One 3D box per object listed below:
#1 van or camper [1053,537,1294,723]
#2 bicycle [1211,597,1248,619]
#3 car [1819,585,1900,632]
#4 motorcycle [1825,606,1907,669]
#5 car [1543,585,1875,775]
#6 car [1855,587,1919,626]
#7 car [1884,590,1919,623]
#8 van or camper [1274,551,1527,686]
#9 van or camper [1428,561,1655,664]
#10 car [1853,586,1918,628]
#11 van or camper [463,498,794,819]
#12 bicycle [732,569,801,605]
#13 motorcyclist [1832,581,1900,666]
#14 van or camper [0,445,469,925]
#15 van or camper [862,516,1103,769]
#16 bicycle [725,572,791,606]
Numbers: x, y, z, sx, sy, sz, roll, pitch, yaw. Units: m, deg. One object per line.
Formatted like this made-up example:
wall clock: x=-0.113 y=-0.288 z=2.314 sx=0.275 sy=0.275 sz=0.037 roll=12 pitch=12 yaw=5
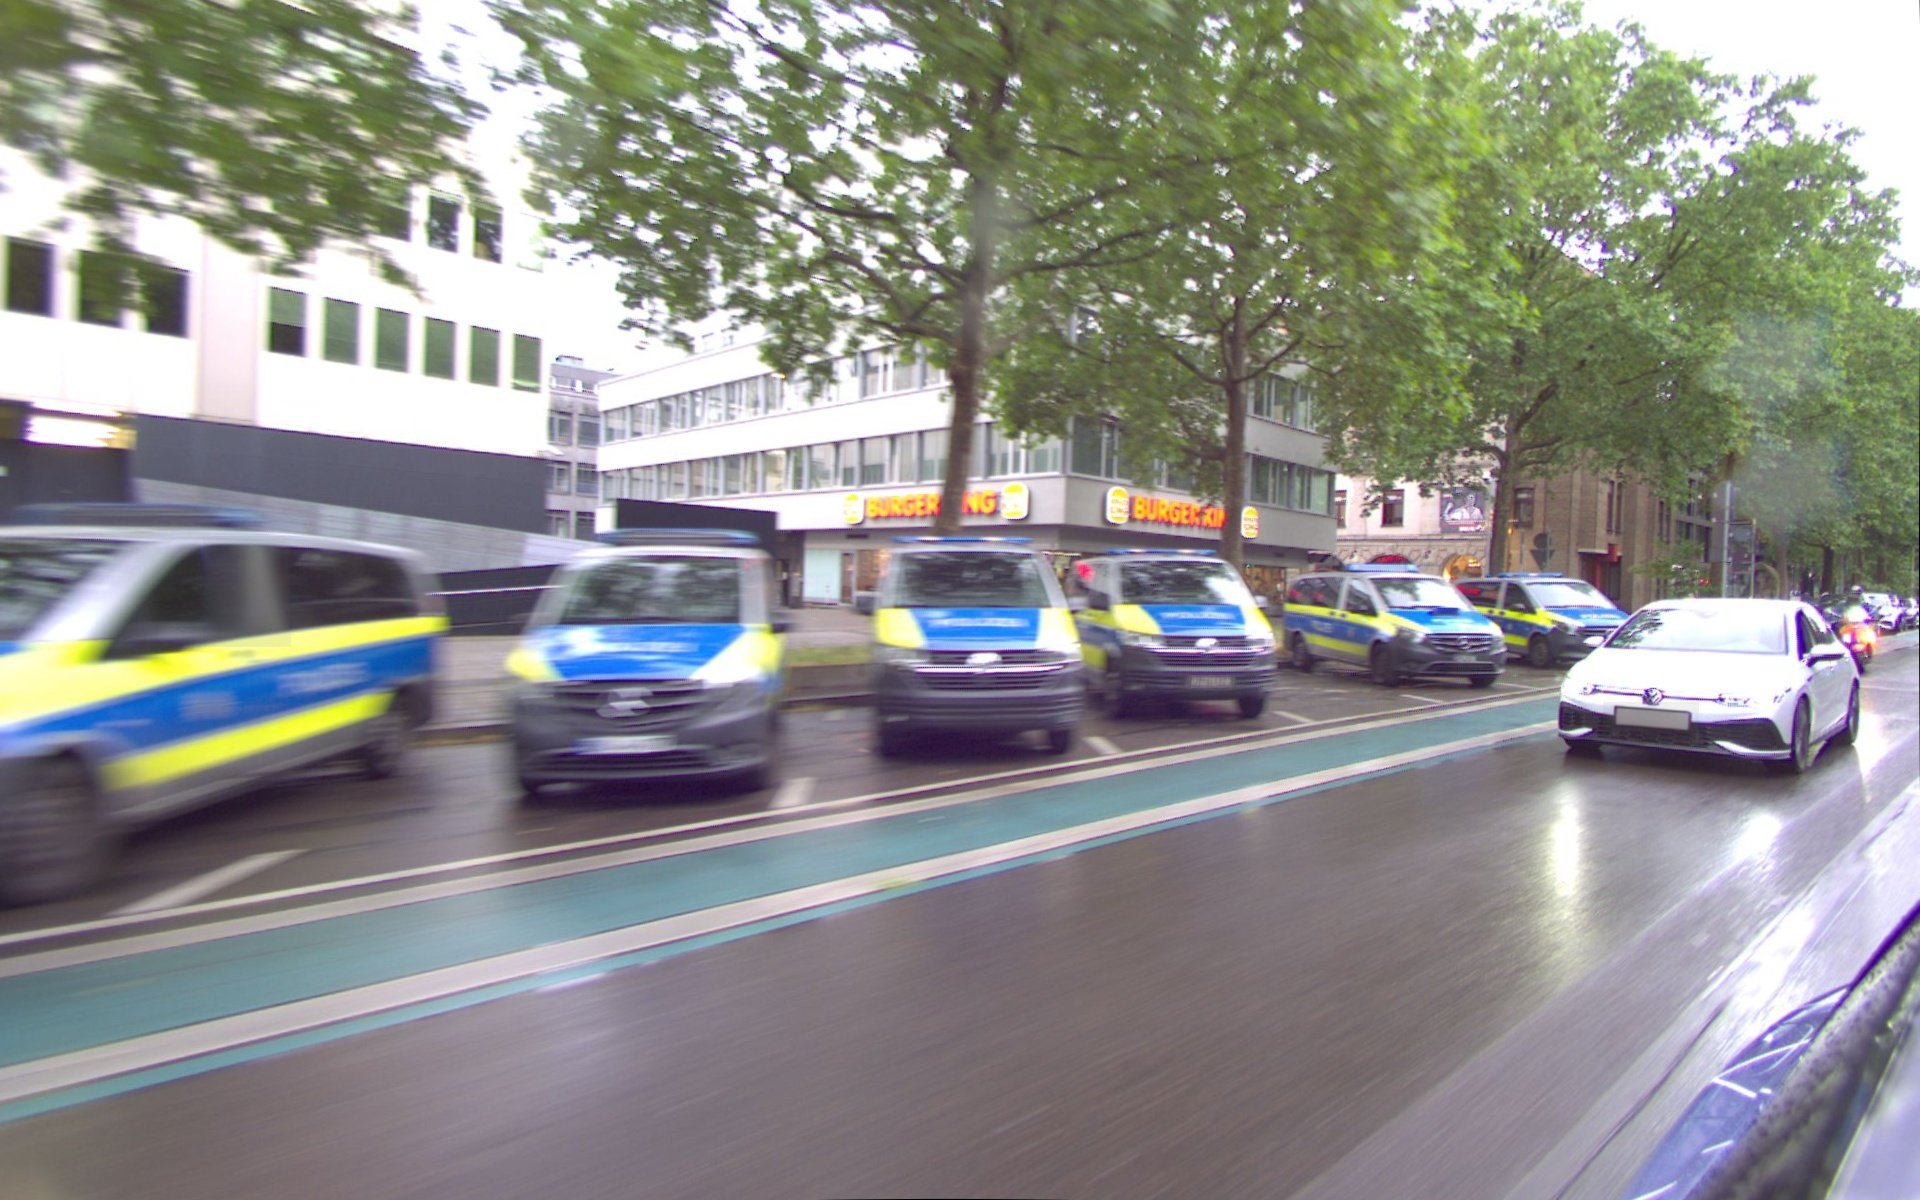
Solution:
van or camper: x=2.555 y=0.279 z=13.446 sx=1.831 sy=2.023 sz=4.859 roll=0 pitch=1 yaw=-4
bicycle: x=10.558 y=0.304 z=39.626 sx=0.640 sy=0.829 sz=1.885 roll=1 pitch=1 yaw=40
car: x=32.908 y=0.273 z=36.997 sx=4.349 sy=1.623 sz=1.795 roll=-1 pitch=1 yaw=-42
motorcycle: x=18.172 y=0.722 z=20.351 sx=0.862 sy=1.157 sz=1.999 roll=1 pitch=1 yaw=31
car: x=7.564 y=0.599 z=10.042 sx=4.433 sy=1.463 sz=1.864 roll=0 pitch=1 yaw=-43
car: x=40.219 y=0.241 z=43.661 sx=4.484 sy=1.609 sz=1.996 roll=0 pitch=1 yaw=-43
car: x=44.554 y=0.269 z=47.104 sx=4.505 sy=1.451 sz=1.746 roll=-1 pitch=1 yaw=-41
van or camper: x=7.541 y=0.265 z=18.022 sx=1.957 sy=2.044 sz=5.093 roll=0 pitch=0 yaw=-4
van or camper: x=12.572 y=0.218 z=22.343 sx=1.963 sy=2.017 sz=4.950 roll=0 pitch=1 yaw=-3
car: x=36.742 y=0.241 z=40.132 sx=1.752 sy=1.605 sz=4.339 roll=1 pitch=1 yaw=44
van or camper: x=-2.524 y=0.307 z=9.003 sx=1.959 sy=2.020 sz=5.033 roll=0 pitch=1 yaw=-8
bicycle: x=-6.524 y=-0.428 z=34.217 sx=2.248 sy=1.187 sz=0.687 roll=0 pitch=1 yaw=-41
motorcyclist: x=18.153 y=0.451 z=20.300 sx=0.842 sy=1.665 sz=0.862 roll=1 pitch=0 yaw=31
van or camper: x=-5.250 y=0.306 z=6.381 sx=2.064 sy=2.050 sz=5.112 roll=1 pitch=1 yaw=-3
van or camper: x=-0.008 y=0.289 z=10.607 sx=1.960 sy=2.036 sz=4.800 roll=0 pitch=1 yaw=-5
bicycle: x=-7.112 y=-0.390 z=35.719 sx=2.249 sy=1.187 sz=0.687 roll=0 pitch=1 yaw=-44
